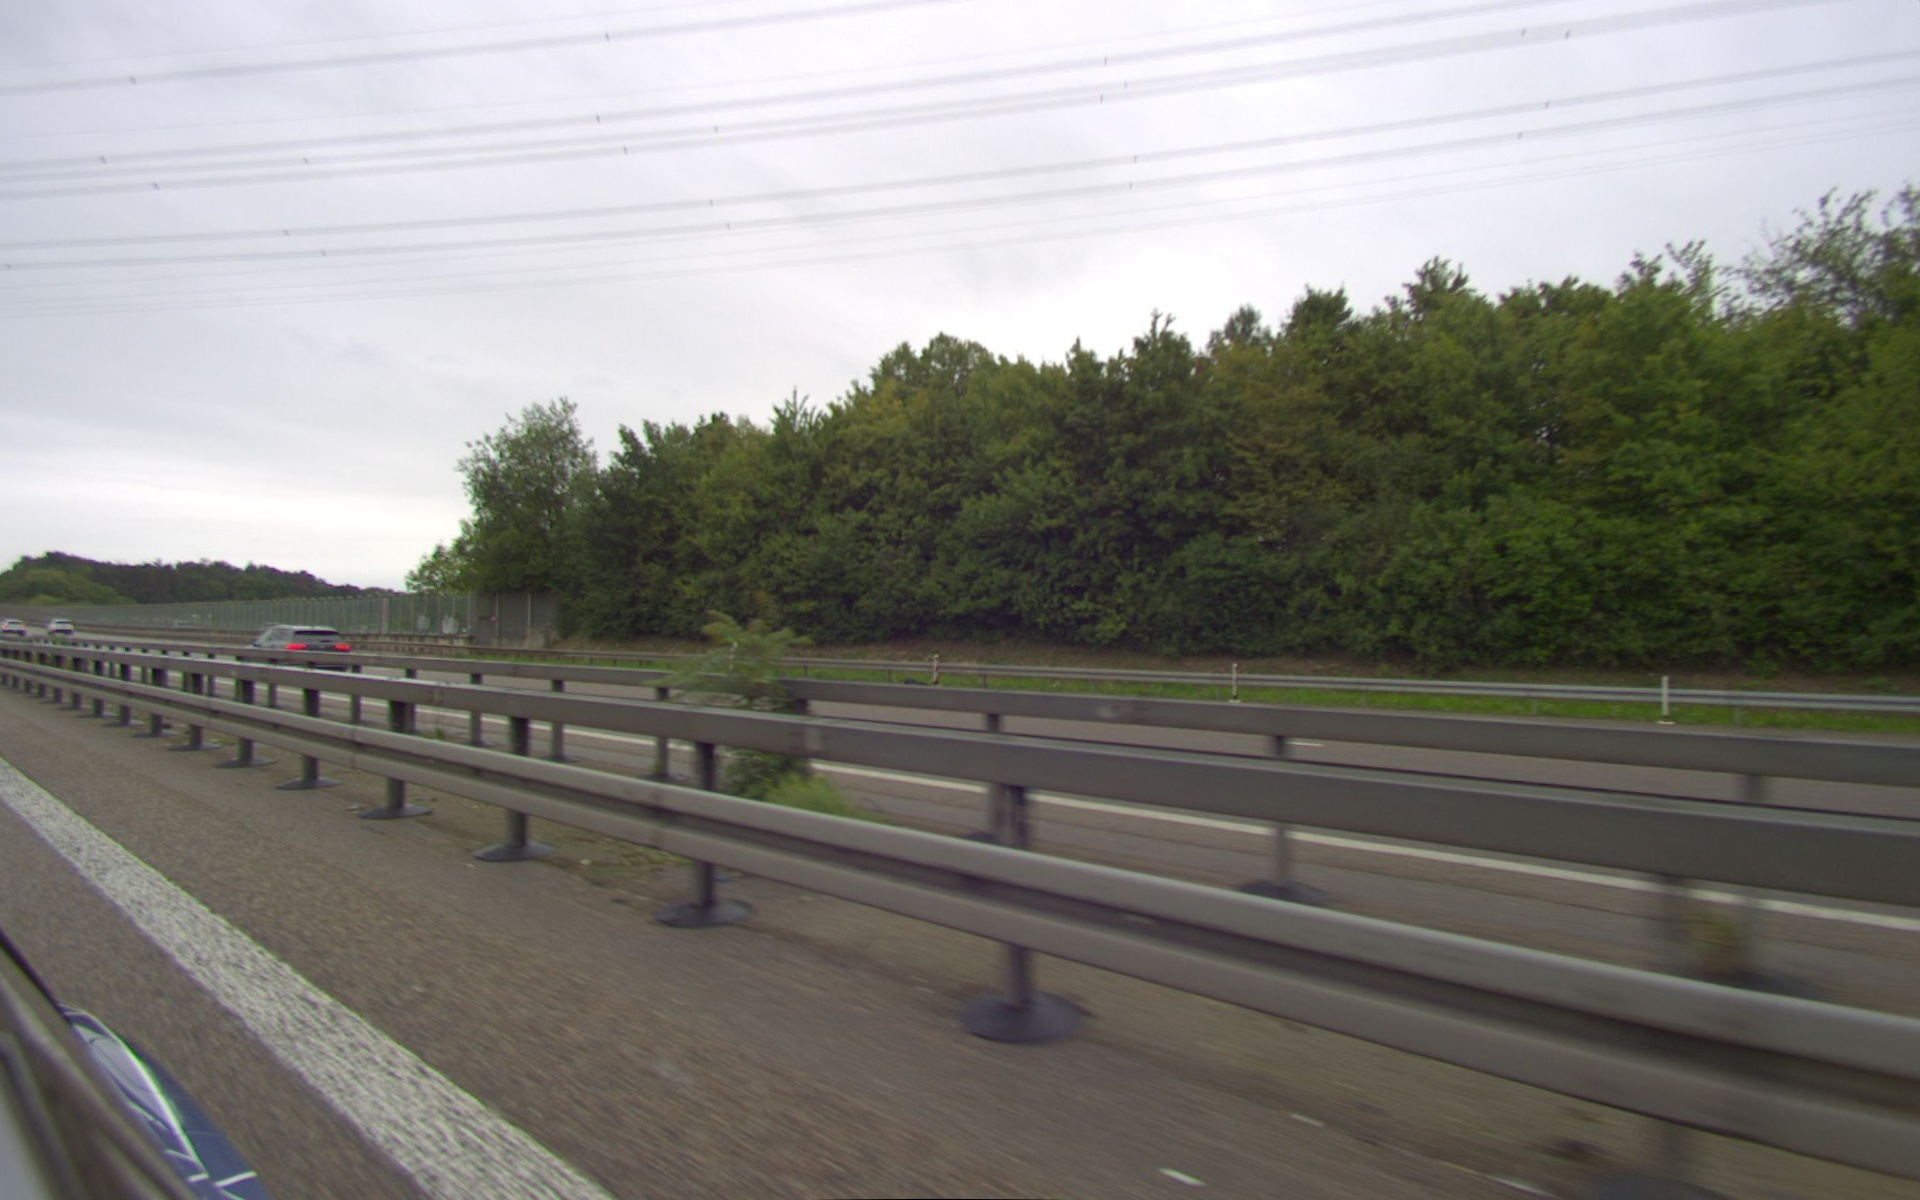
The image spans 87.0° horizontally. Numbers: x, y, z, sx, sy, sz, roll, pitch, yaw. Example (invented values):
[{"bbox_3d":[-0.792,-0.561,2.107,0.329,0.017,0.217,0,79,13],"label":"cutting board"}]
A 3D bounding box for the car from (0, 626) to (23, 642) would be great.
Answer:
[{"bbox_3d":[-99.092,3.537,105.311,4.712,1.678,1.884,-1,-3,41],"label":"car"}]

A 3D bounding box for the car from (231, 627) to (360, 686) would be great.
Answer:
[{"bbox_3d":[-18.828,1.557,28.586,4.788,1.524,1.803,-2,-3,41],"label":"car"}]

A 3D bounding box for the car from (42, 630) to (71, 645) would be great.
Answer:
[{"bbox_3d":[-107.599,4.472,120.520,4.913,1.833,1.929,-2,-3,41],"label":"car"}]
